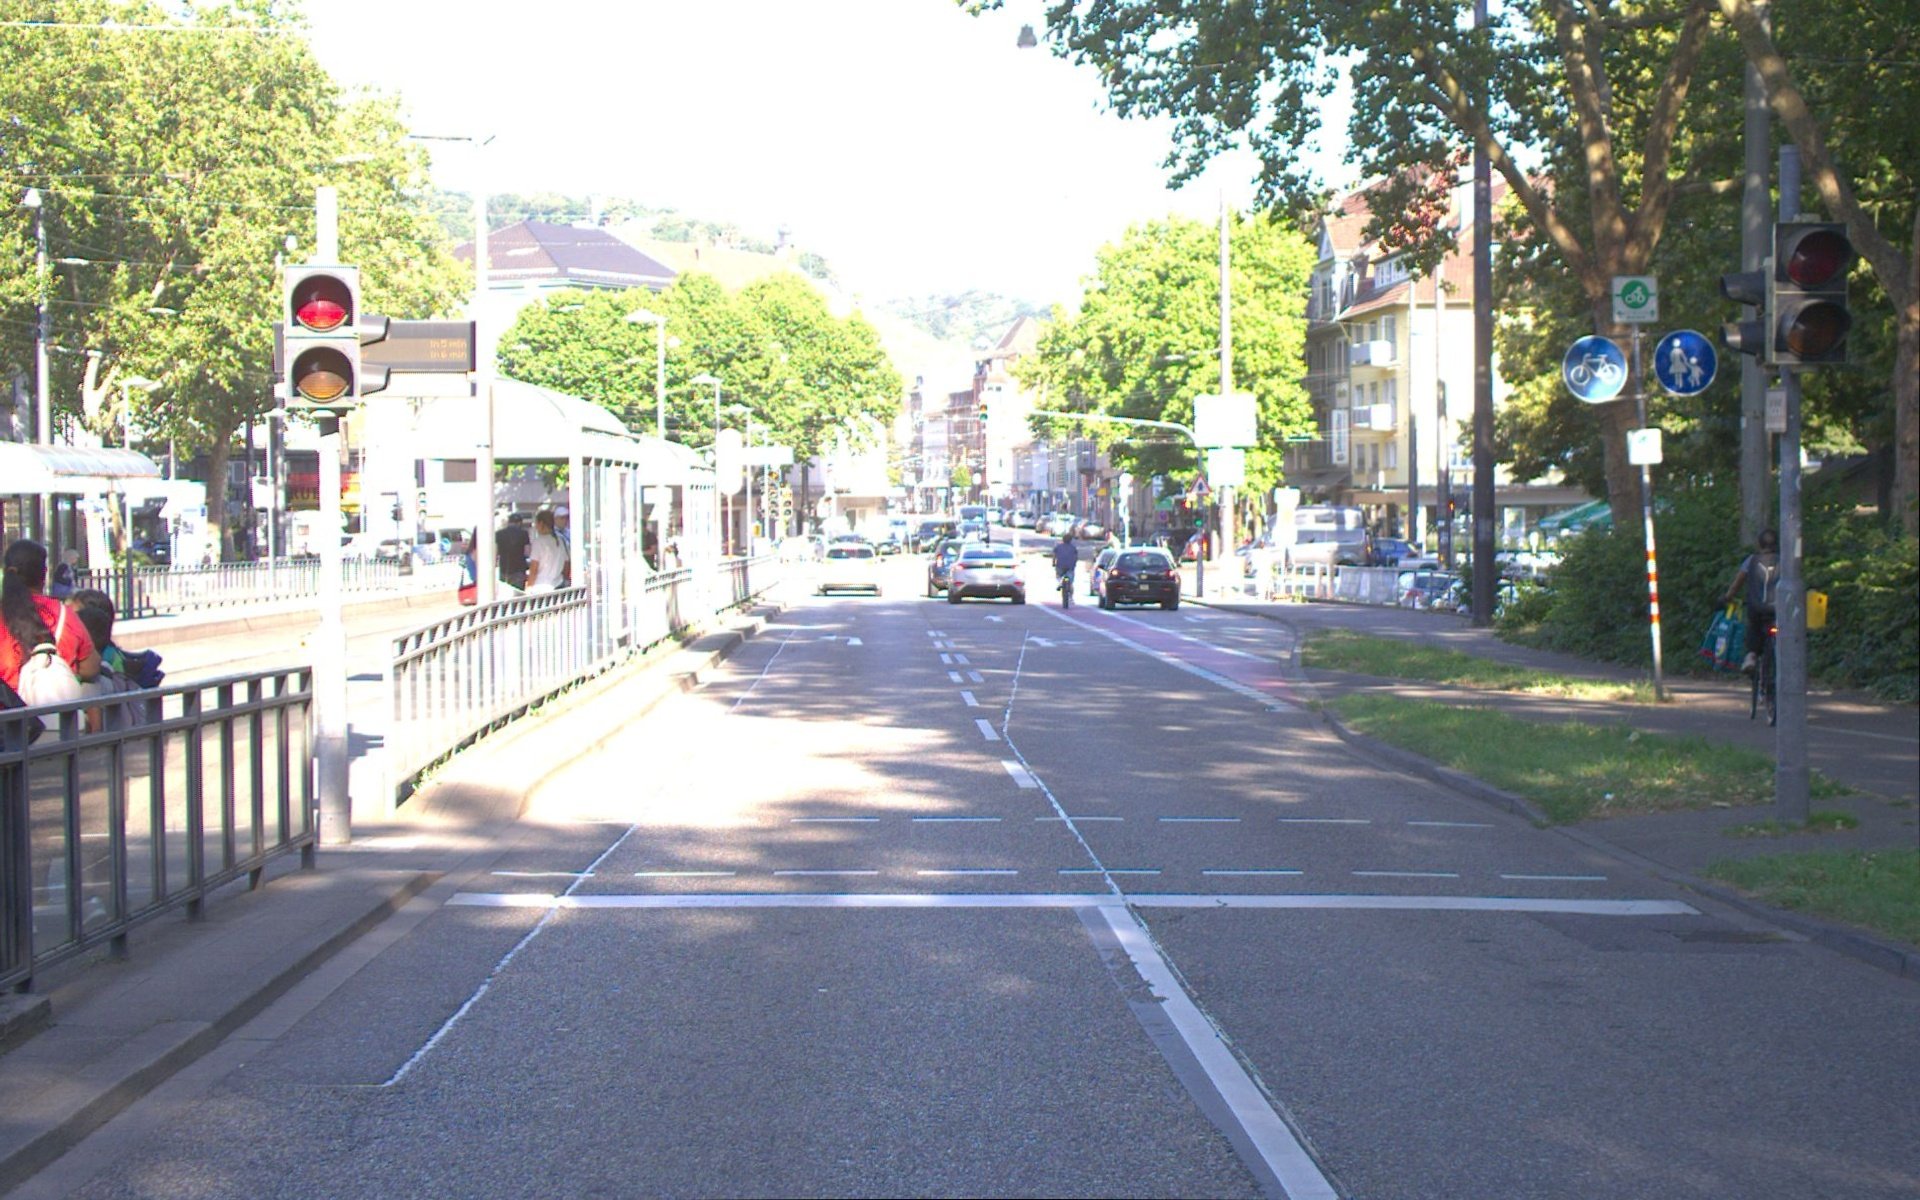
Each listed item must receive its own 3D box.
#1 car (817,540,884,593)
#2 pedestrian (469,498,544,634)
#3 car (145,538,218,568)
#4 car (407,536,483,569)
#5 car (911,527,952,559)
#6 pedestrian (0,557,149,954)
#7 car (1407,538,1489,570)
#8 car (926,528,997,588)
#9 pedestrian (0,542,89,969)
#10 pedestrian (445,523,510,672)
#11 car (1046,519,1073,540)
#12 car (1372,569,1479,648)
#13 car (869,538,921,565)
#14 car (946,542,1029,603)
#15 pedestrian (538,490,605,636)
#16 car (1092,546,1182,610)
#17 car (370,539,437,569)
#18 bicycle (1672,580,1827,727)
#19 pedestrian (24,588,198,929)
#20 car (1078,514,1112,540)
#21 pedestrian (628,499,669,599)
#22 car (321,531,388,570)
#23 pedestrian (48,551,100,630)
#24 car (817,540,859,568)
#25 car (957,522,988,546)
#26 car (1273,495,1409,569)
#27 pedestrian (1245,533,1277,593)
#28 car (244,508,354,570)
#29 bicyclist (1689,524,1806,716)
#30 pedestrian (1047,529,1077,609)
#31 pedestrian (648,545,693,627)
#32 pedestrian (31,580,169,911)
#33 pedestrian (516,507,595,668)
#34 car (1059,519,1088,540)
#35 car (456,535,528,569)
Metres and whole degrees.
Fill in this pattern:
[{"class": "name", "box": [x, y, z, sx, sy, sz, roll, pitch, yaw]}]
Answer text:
[{"class": "car", "box": [-3.080, -0.948, 96.267, 1.808, 1.447, 4.001, 0, 1, -2]}, {"class": "pedestrian", "box": [-5.767, -0.430, 43.734, 0.651, 1.716, 0.710, 0, 1, -37]}, {"class": "car", "box": [-41.136, -2.496, 181.683, 1.796, 1.505, 3.996, 0, 1, 22]}, {"class": "car", "box": [-26.136, -2.429, 174.581, 1.797, 1.643, 4.004, 0, 1, 28]}, {"class": "car", "box": [-1.672, -3.404, 204.665, 1.795, 1.820, 3.999, 0, 1, 9]}, {"class": "pedestrian", "box": [-3.588, 0.601, 13.553, 0.589, 1.514, 0.514, -3, 1, -1]}, {"class": "car", "box": [18.157, -1.724, 128.057, 2.903, 1.158, 2.073, 0, 0, 5]}, {"class": "car", "box": [0.024, -1.171, 94.516, 1.800, 1.632, 4.046, 0, 1, -2]}, {"class": "pedestrian", "box": [-3.691, 0.577, 12.942, 0.520, 1.563, 0.507, -2, 1, 29]}, {"class": "pedestrian", "box": [-5.138, -0.029, 36.607, 0.588, 1.561, 0.650, 1, 1, -1]}, {"class": "car", "box": [7.330, -5.222, 253.761, 1.794, 1.505, 4.001, 0, 1, -2]}, {"class": "car", "box": [11.538, 0.196, 85.493, 1.794, 1.891, 4.360, 1, 0, -4]}, {"class": "car", "box": [-3.743, -2.802, 197.201, 1.796, 1.505, 3.997, 0, 1, 17]}, {"class": "car", "box": [0.673, -0.721, 87.311, 1.929, 1.467, 4.855, 0, 1, -2]}, {"class": "pedestrian", "box": [-4.937, -0.469, 43.704, 0.651, 1.835, 0.710, 1, 1, 8]}, {"class": "car", "box": [4.212, -0.550, 82.191, 1.800, 1.434, 4.045, 1, 1, -2]}, {"class": "car", "box": [-28.558, -2.373, 176.555, 1.796, 1.505, 4.007, 0, 1, 17]}, {"class": "bicycle", "box": [6.300, 0.406, 27.513, 0.766, 1.104, 1.800, 0, 1, -2]}, {"class": "pedestrian", "box": [-3.650, 0.667, 14.766, 0.589, 1.401, 0.560, -3, 1, -22]}, {"class": "car", "box": [9.457, -5.099, 241.147, 2.104, 1.770, 4.342, 0, 1, -2]}, {"class": "pedestrian", "box": [-5.275, -0.866, 58.265, 0.595, 1.672, 0.589, 0, 1, 4]}, {"class": "car", "box": [-31.174, -2.570, 177.077, 1.796, 1.949, 3.997, 0, 1, 17]}, {"class": "pedestrian", "box": [-15.297, -0.169, 59.382, 0.669, 1.320, 0.757, -3, 1, -3]}, {"class": "car", "box": [-6.694, -2.524, 189.087, 1.794, 1.505, 3.999, -1, 0, 5]}, {"class": "car", "box": [0.788, -4.211, 219.312, 1.794, 1.505, 4.001, -1, 1, -3]}, {"class": "car", "box": [14.202, -2.533, 128.381, 5.015, 2.733, 2.073, 0, 0, 5]}, {"class": "pedestrian", "box": [7.917, -0.969, 90.309, 0.648, 1.558, 0.631, 3, 1, 17]}, {"class": "car", "box": [-34.250, -3.189, 178.334, 2.498, 3.154, 6.528, 0, 1, 21]}, {"class": "bicyclist", "box": [6.301, 0.151, 27.523, 0.766, 1.507, 0.650, 0, 1, -2]}, {"class": "pedestrian", "box": [2.402, -0.733, 81.313, 0.657, 1.864, 0.678, 0, 1, -2]}, {"class": "pedestrian", "box": [-4.627, -0.231, 54.951, 0.678, 1.304, 0.593, 0, 1, -1]}, {"class": "pedestrian", "box": [-3.510, 0.586, 14.042, 0.416, 1.316, 0.359, -3, 1, -1]}, {"class": "pedestrian", "box": [-4.309, -0.139, 36.657, 0.742, 1.688, 0.791, 1, 1, -1]}, {"class": "car", "box": [8.190, -5.087, 247.616, 1.794, 1.505, 4.001, 0, 1, -2]}, {"class": "car", "box": [-23.660, -2.445, 173.919, 1.923, 1.643, 4.176, 0, 1, 19]}]
